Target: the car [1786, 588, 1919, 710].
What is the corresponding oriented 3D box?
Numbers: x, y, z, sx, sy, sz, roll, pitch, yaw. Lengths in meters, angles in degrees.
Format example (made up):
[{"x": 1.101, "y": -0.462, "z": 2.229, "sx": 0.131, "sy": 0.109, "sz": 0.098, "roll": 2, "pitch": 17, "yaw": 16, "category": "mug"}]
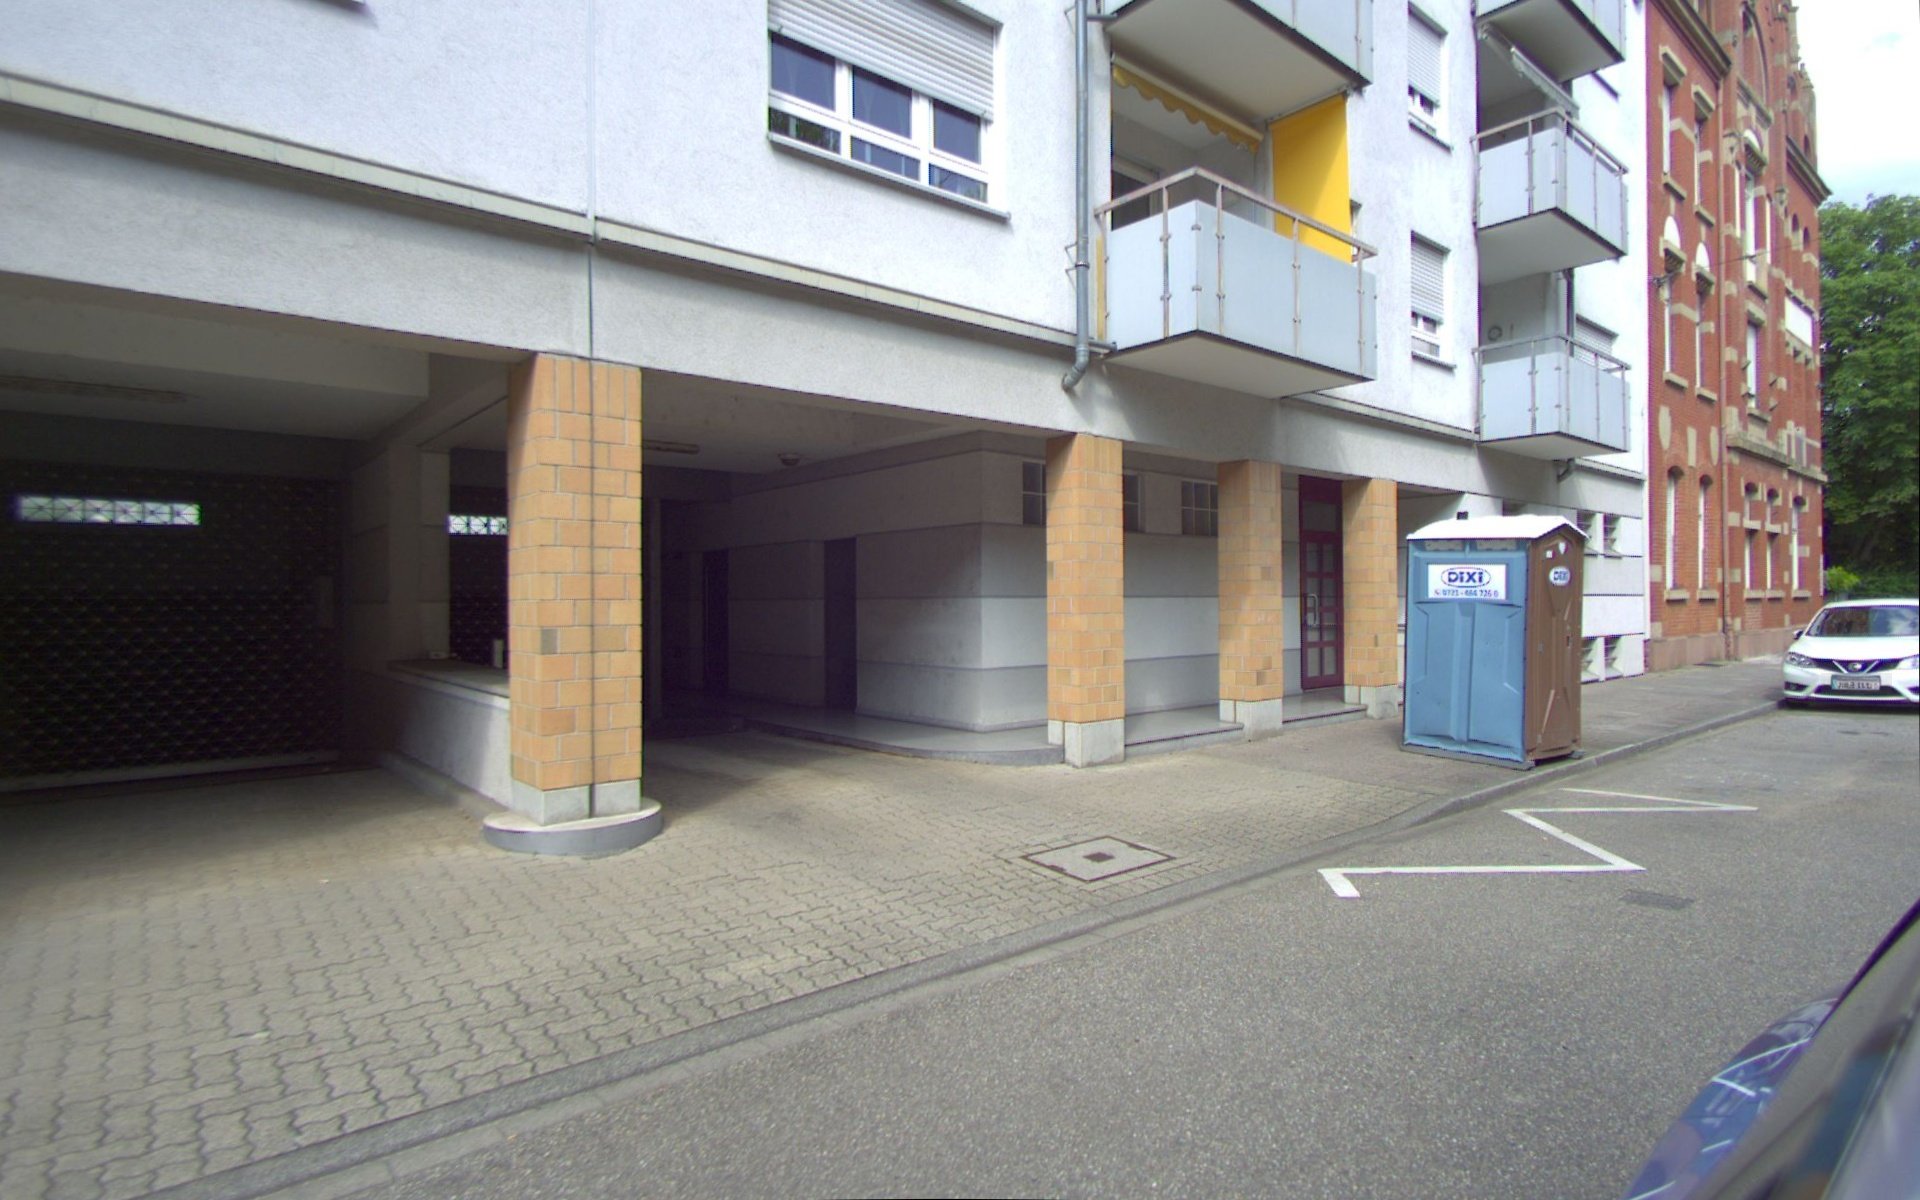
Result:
[{"x": 13.407, "y": 0.608, "z": 14.438, "sx": 3.969, "sy": 1.549, "sz": 1.800, "roll": -1, "pitch": -1, "yaw": -40, "category": "car"}]
